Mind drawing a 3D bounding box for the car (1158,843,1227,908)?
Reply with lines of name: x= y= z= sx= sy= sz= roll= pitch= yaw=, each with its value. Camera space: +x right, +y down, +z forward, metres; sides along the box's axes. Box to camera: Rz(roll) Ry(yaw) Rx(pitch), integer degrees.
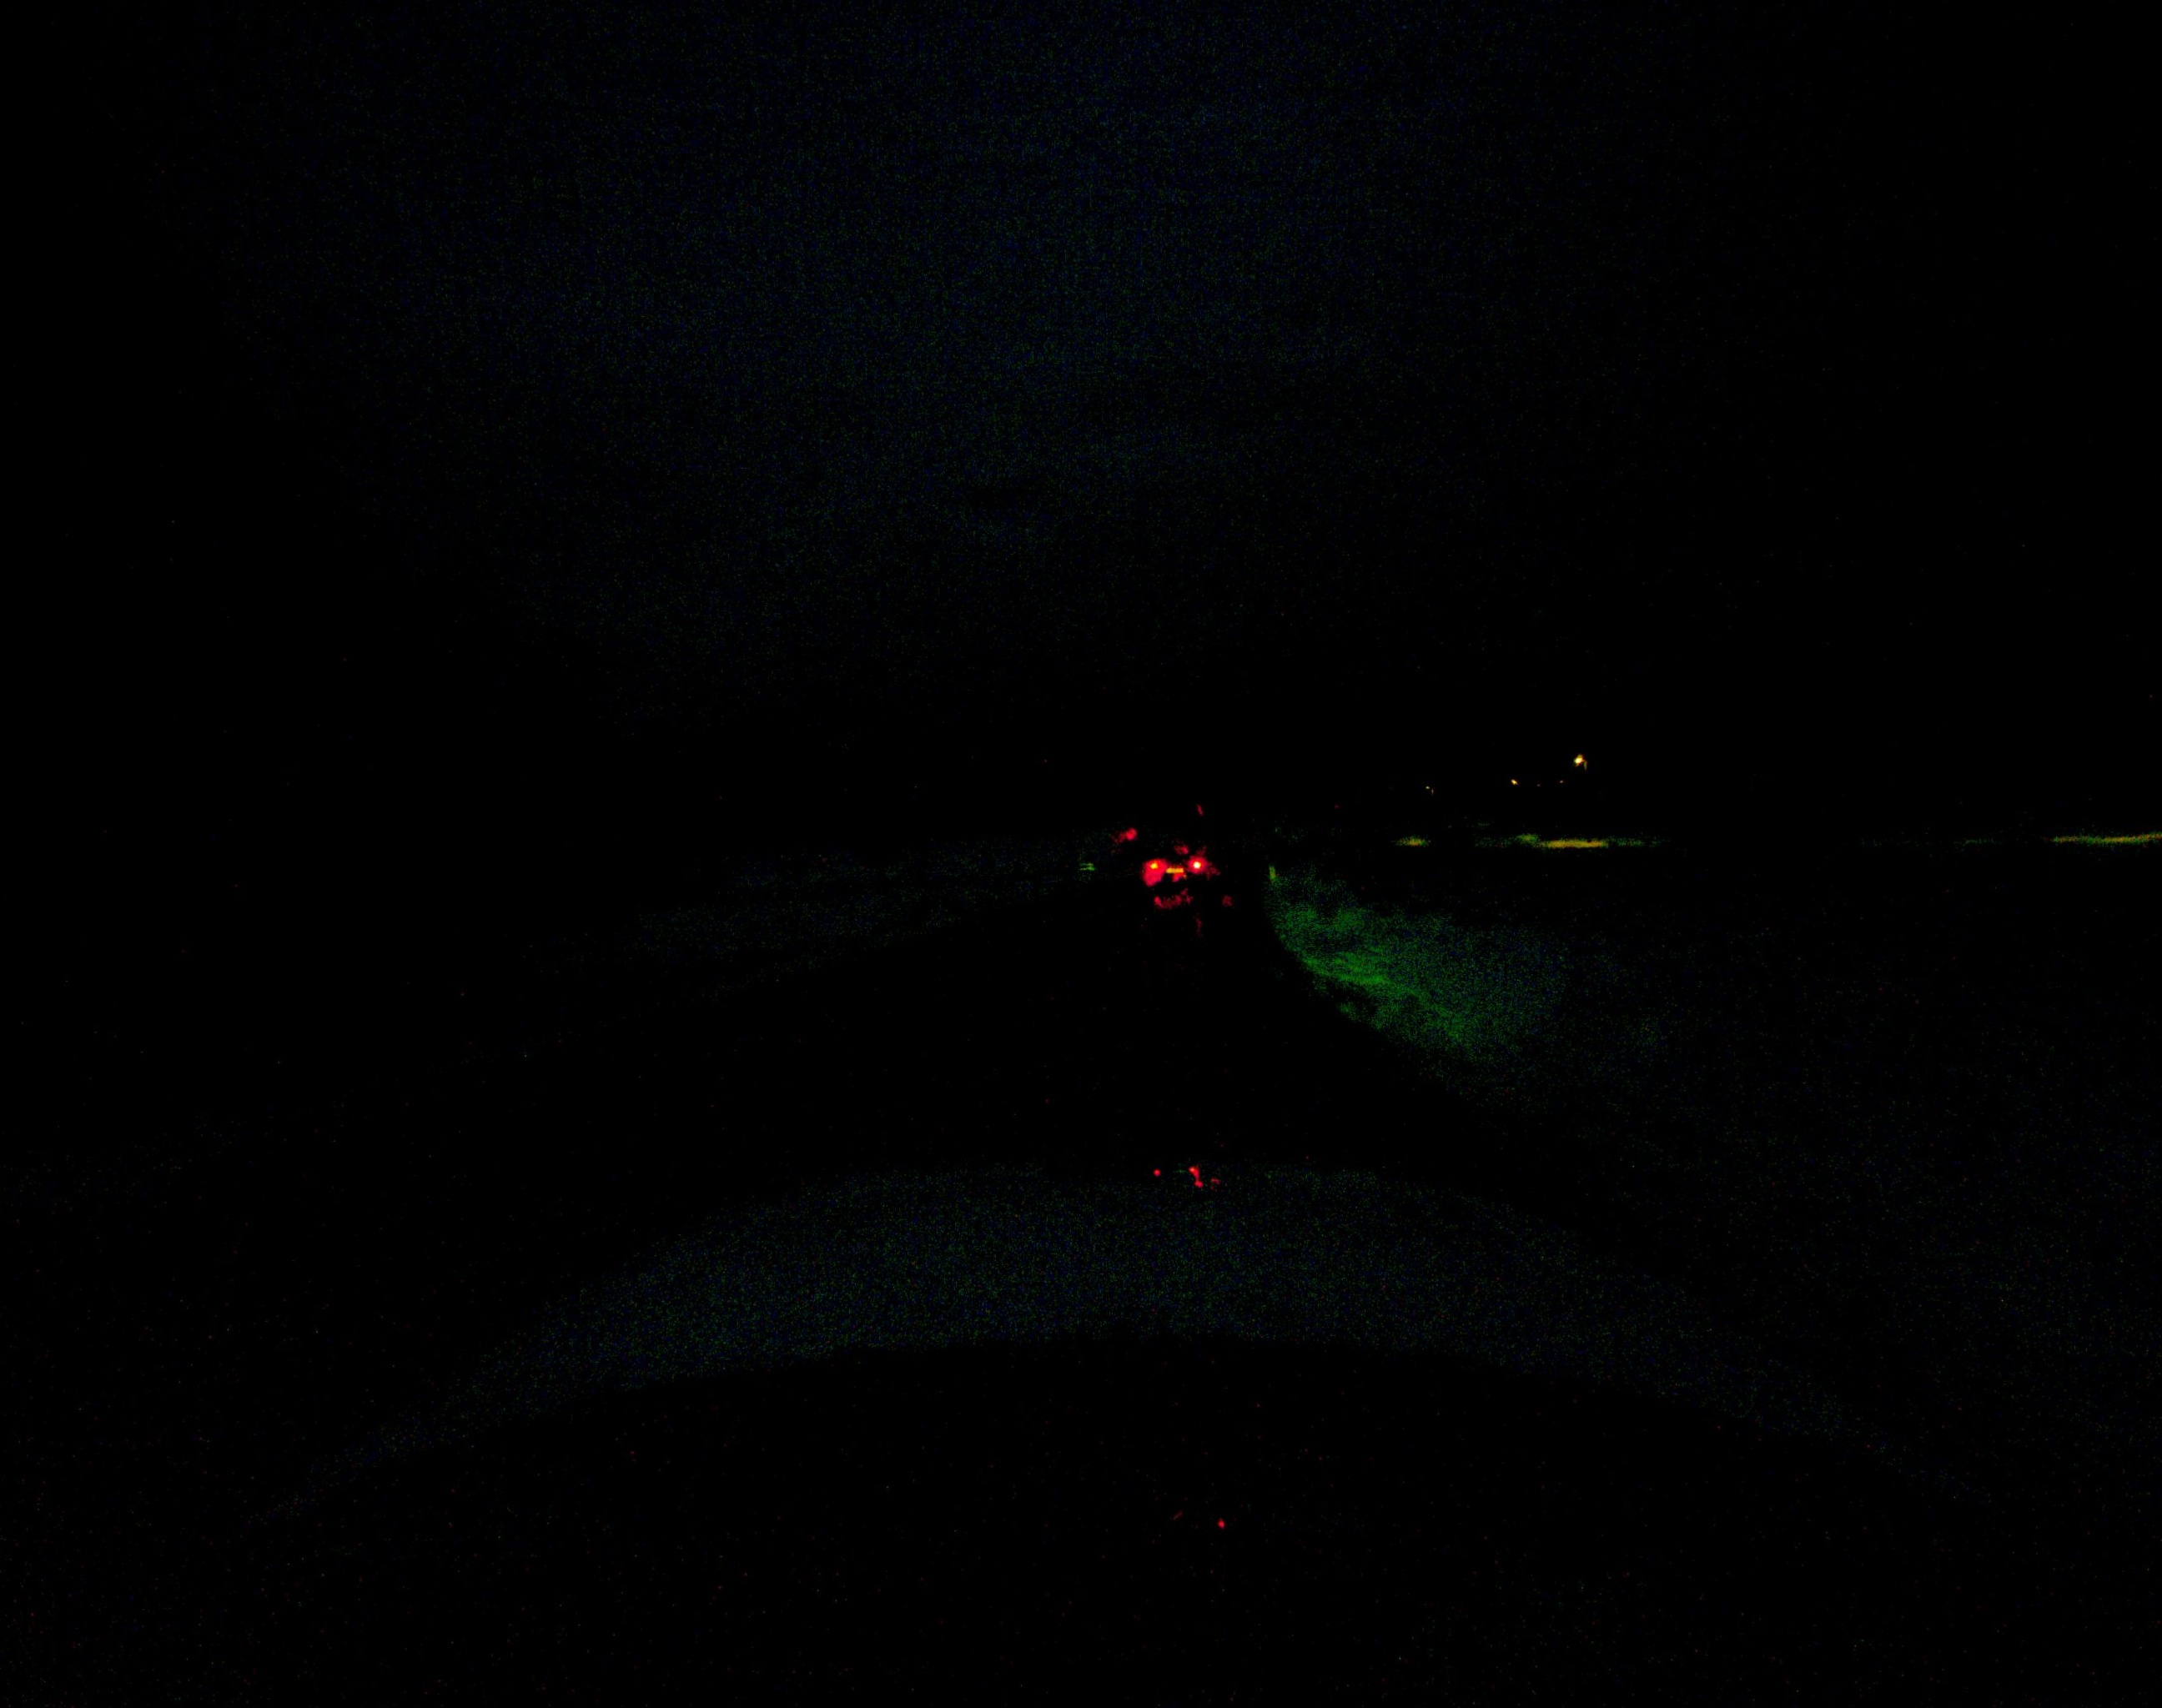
car: x=3.546 y=0.626 z=25.369 sx=1.810 sy=1.796 sz=3.589 roll=-4 pitch=0 yaw=11
